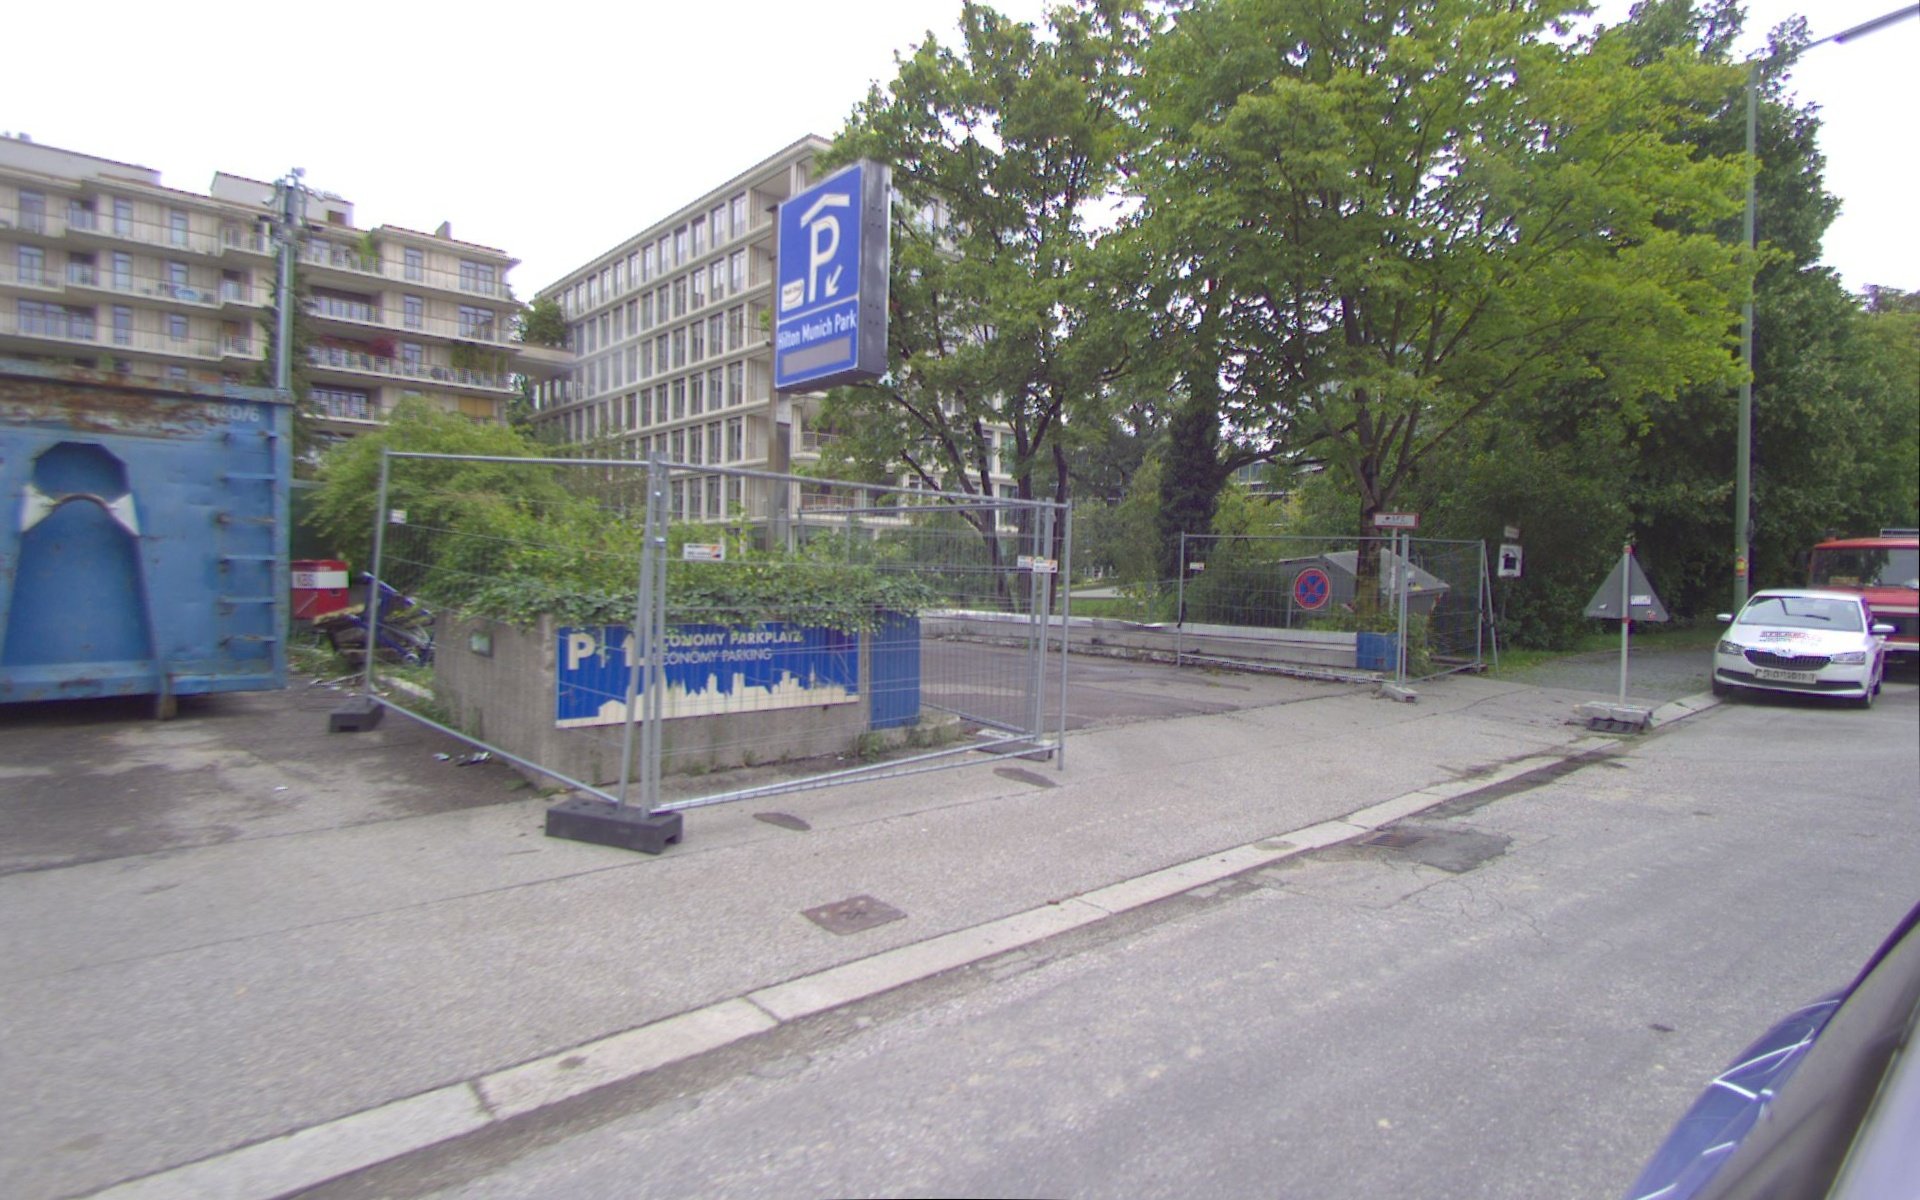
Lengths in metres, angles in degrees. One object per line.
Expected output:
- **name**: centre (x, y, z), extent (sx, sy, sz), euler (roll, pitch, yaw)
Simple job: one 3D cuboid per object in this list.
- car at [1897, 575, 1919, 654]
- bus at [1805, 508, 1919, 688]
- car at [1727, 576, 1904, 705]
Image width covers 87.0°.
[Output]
- **car**: centre (22.270, 0.325, 22.309), extent (4.319, 1.660, 1.782), euler (0, 2, -40)
- **bus**: centre (17.397, -0.058, 18.166), extent (6.157, 2.840, 2.079), euler (0, 2, -38)
- **car**: centre (12.177, 0.451, 14.317), extent (3.995, 1.510, 1.533), euler (-2, 3, -45)
